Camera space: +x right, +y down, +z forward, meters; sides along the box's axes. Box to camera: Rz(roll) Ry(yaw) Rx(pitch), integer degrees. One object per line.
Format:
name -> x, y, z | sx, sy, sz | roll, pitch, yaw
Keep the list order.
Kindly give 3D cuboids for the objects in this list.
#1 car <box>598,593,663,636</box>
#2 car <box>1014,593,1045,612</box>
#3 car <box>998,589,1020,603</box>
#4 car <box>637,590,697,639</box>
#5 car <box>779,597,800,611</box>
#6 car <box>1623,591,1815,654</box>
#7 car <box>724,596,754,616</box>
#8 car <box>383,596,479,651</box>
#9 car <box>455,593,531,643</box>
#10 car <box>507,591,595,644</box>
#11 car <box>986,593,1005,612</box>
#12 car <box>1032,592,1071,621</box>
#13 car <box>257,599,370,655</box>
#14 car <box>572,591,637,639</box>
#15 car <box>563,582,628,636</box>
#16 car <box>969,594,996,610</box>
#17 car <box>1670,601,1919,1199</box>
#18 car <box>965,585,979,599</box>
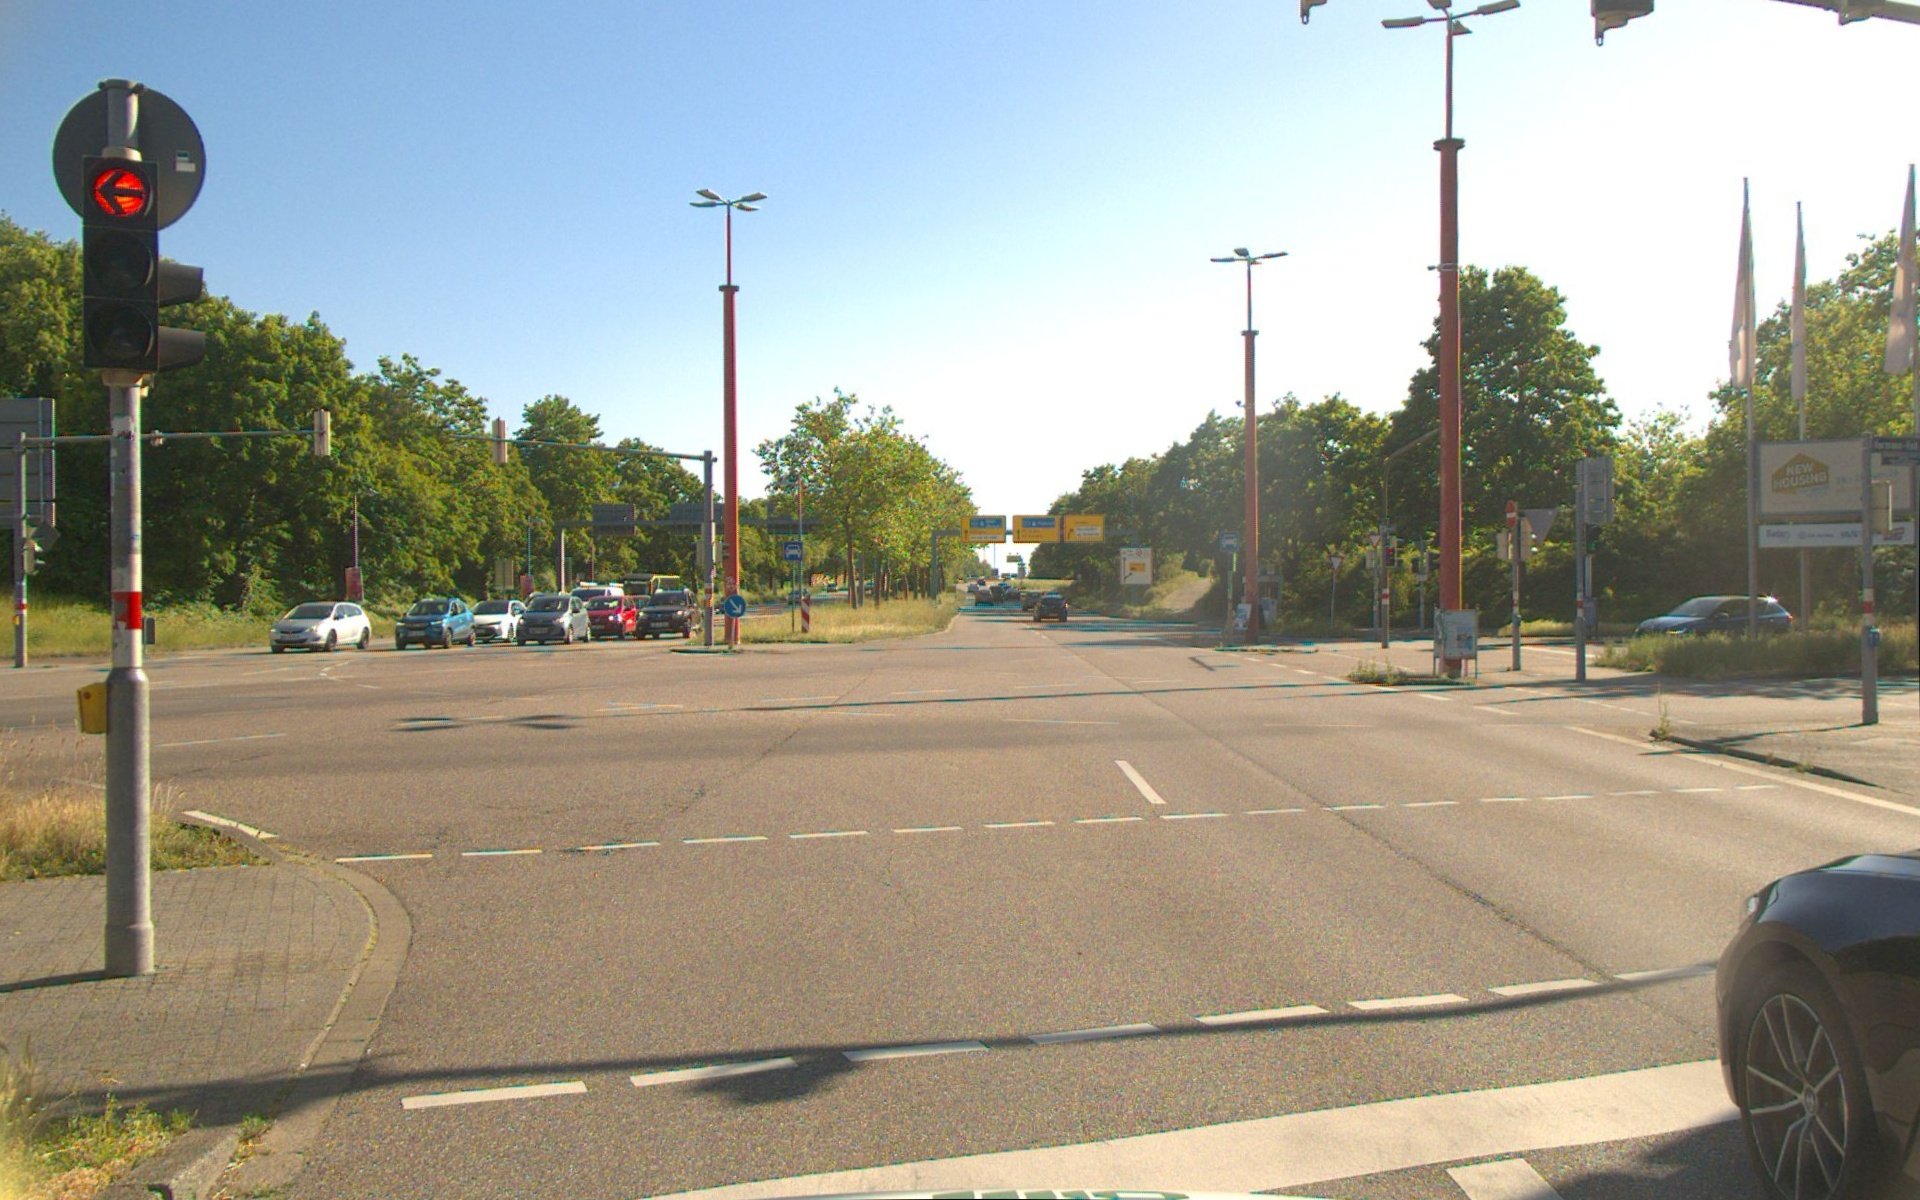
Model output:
car -> -12.711, 0.525, 64.040 | 1.954, 1.601, 4.117 | 0, 0, -4
car -> 5.815, 0.218, 139.432 | 2.116, 1.601, 4.277 | 0, 0, -4
car -> 5.825, -0.442, 196.406 | 2.116, 1.601, 4.277 | 0, 0, -4
car -> -9.873, 0.470, 55.985 | 1.841, 1.601, 4.113 | 0, 0, -8
car -> -18.500, 0.409, 179.553 | 1.846, 1.480, 3.656 | -1, 0, 0
car -> 18.760, 0.528, 40.896 | 4.202, 1.453, 1.874 | 0, 0, -19
car -> -17.771, 0.481, 133.328 | 1.953, 1.601, 4.119 | 0, 0, -2
car -> -16.207, 0.681, 50.884 | 1.955, 1.601, 4.116 | 0, 0, -5
car -> -15.990, 0.595, 56.777 | 1.956, 1.601, 4.113 | -1, 0, -8
car -> -12.804, 0.520, 51.958 | 1.954, 1.601, 4.118 | 0, 0, -4
car -> 3.877, 0.232, 179.761 | 1.953, 2.049, 3.999 | 0, 0, -1
car -> 5.270, 0.364, 96.047 | 2.114, 1.601, 4.281 | 0, 0, 1
car -> -19.585, 0.784, 50.291 | 1.954, 1.601, 4.118 | 0, 0, -3
car -> -12.478, 0.505, 58.265 | 1.956, 1.601, 4.113 | 0, 0, -8
car -> -15.671, 0.383, 71.258 | 2.021, 2.231, 4.376 | 0, 0, -3
car -> 2.217, 0.172, 163.219 | 2.202, 1.601, 4.276 | 0, 0, -5
car -> 2.975, 0.716, 2.355 | 1.953, 1.419, 4.476 | 0, 0, -1
car -> 1.748, -1.156, 242.399 | 1.953, 2.049, 3.999 | 0, 0, -1
